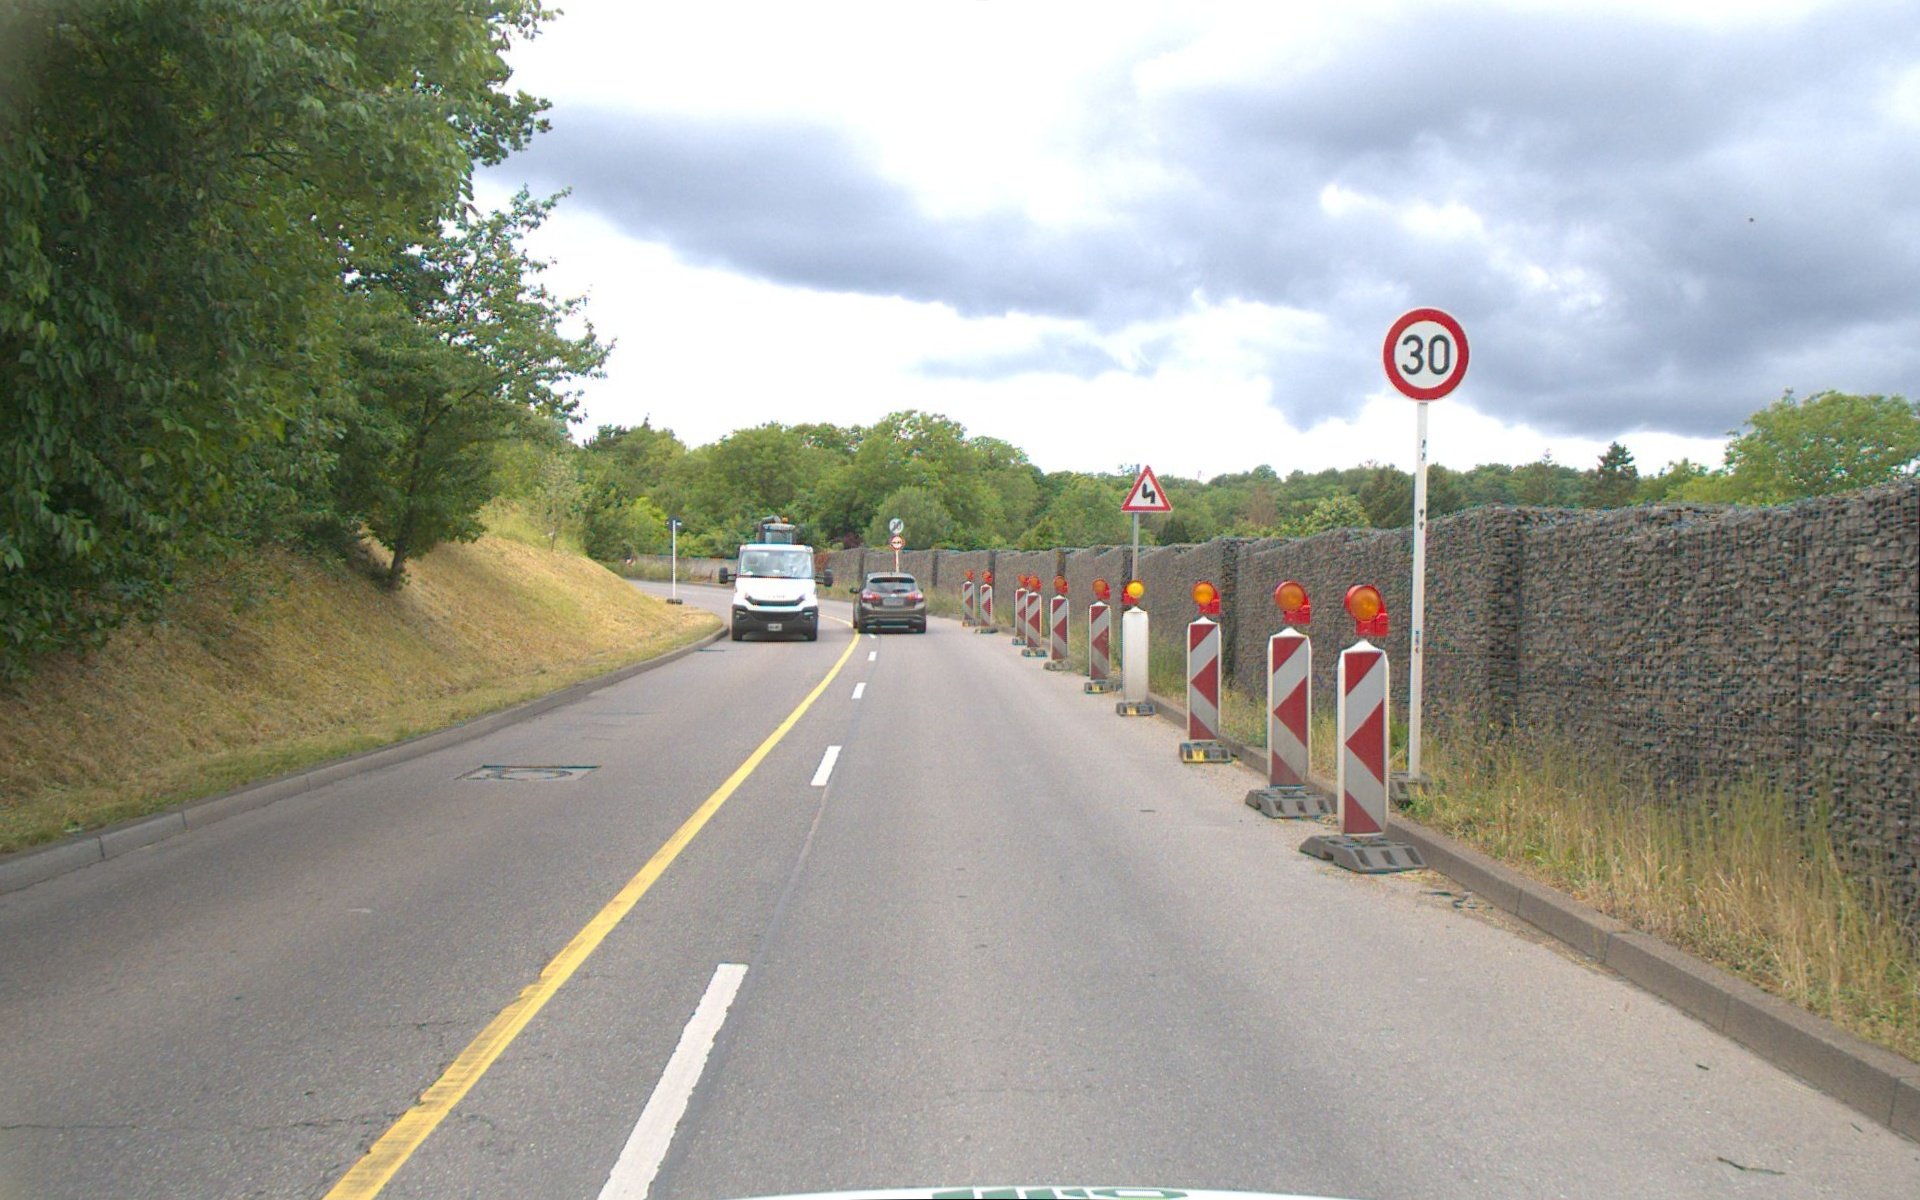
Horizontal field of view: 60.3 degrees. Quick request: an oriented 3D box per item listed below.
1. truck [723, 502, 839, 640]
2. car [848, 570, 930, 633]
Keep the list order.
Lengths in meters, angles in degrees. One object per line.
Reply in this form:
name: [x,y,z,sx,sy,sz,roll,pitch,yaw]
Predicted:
truck: [-4.283,-0.703,40.779,2.170,3.067,7.738,0,1,-1]
car: [-1.902,-0.003,43.425,1.805,1.509,3.994,-1,1,-7]
